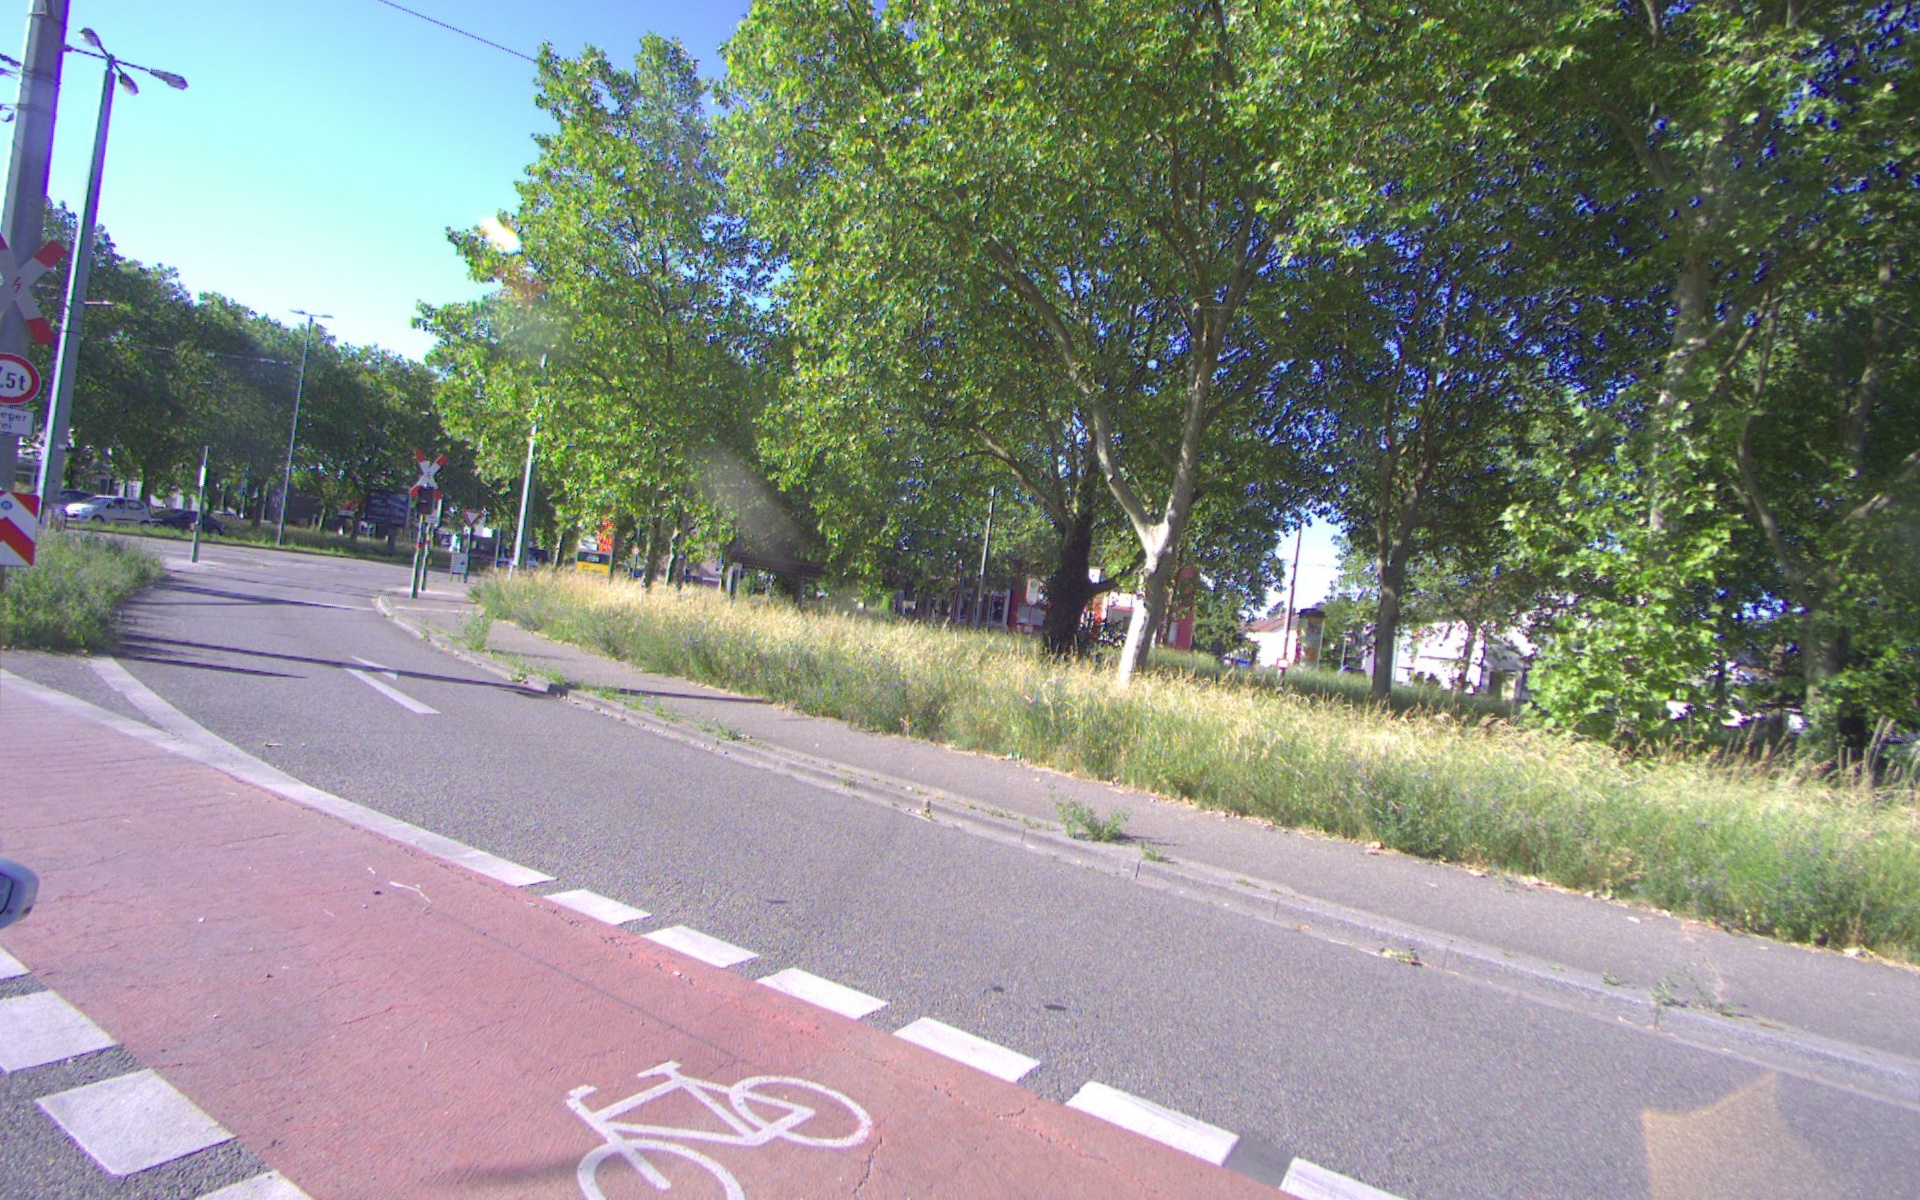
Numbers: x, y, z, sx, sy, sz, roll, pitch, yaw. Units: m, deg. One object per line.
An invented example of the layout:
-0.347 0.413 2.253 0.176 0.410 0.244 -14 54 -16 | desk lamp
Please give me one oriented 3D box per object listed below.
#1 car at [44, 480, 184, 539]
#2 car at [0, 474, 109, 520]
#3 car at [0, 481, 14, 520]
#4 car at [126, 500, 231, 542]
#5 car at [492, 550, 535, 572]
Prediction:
-40.467 -4.285 48.297 1.962 2.038 4.907 7 -1 9 | car
-44.050 -4.980 49.007 1.462 1.589 3.758 7 -1 9 | car
-41.041 -4.320 40.573 1.575 1.549 4.002 7 0 9 | car
-42.930 -4.305 55.421 1.661 1.593 4.528 7 -1 9 | car
-39.635 -3.441 89.468 1.563 1.519 4.002 7 -1 6 | car
